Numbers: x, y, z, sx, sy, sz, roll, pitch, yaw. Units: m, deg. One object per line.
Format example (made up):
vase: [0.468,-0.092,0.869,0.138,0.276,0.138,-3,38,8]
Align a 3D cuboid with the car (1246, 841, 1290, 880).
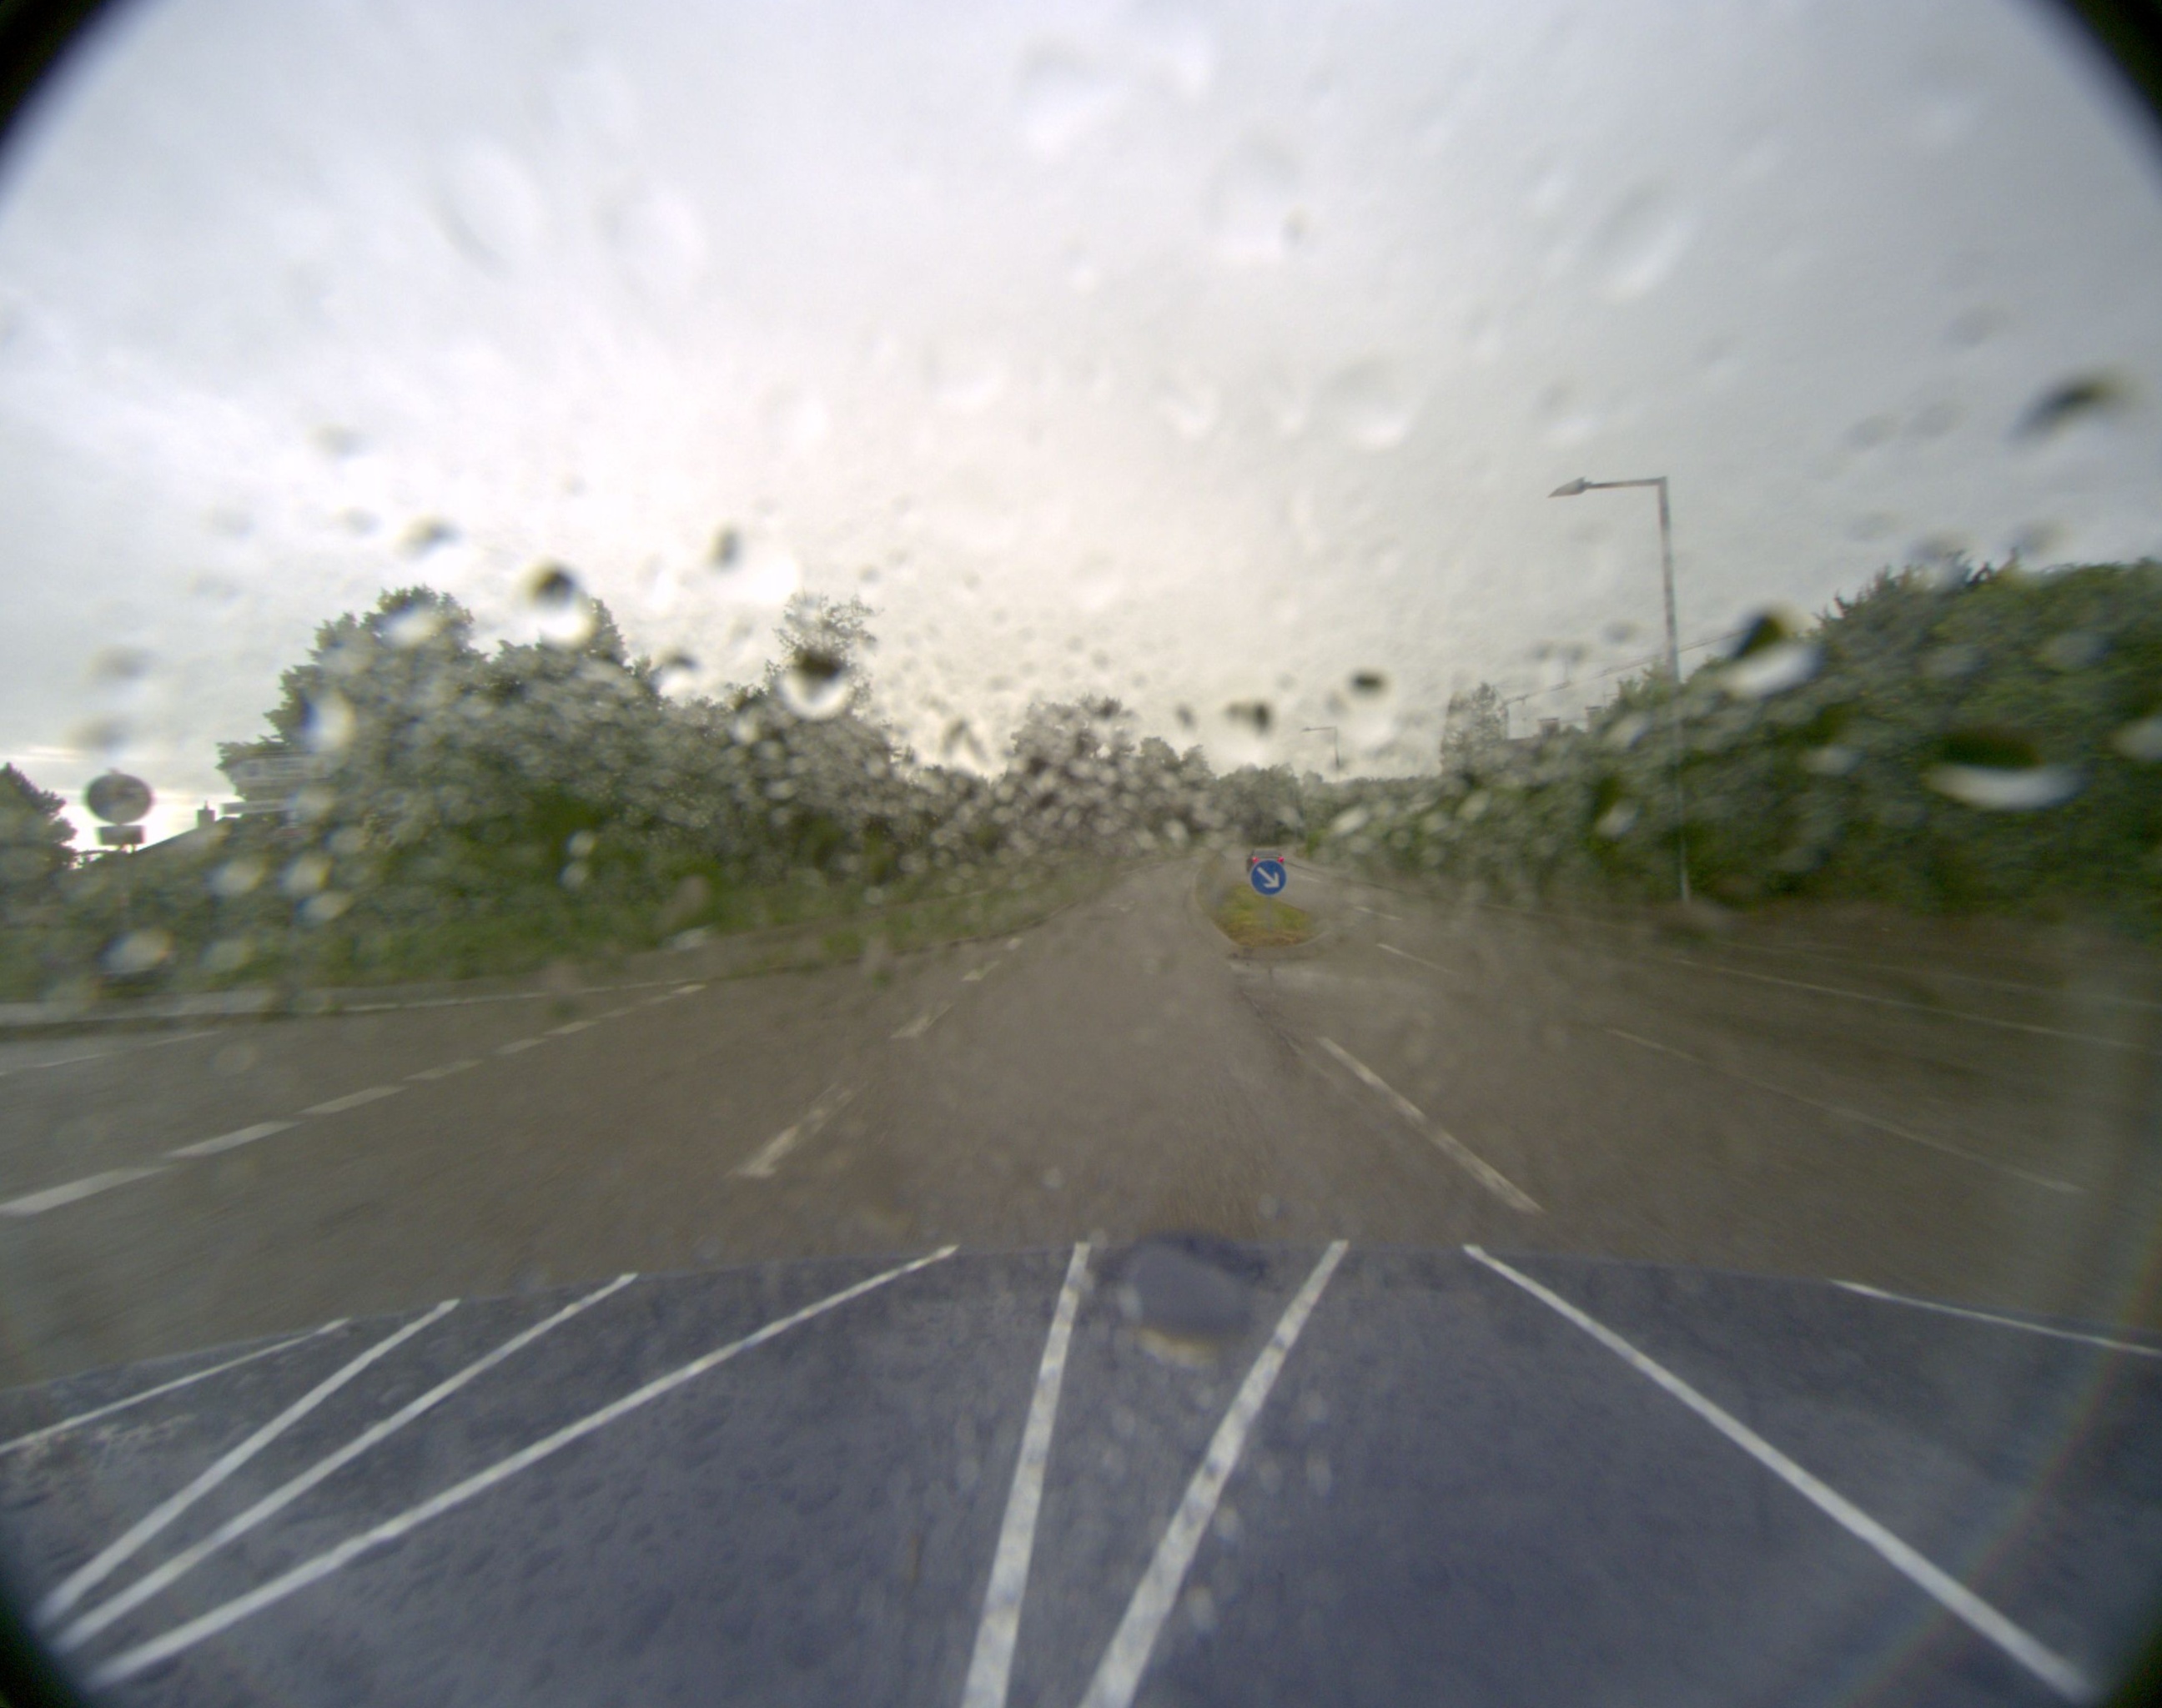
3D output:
car: [10.373,0.328,42.410,1.966,2.002,4.002,-3,0,8]
